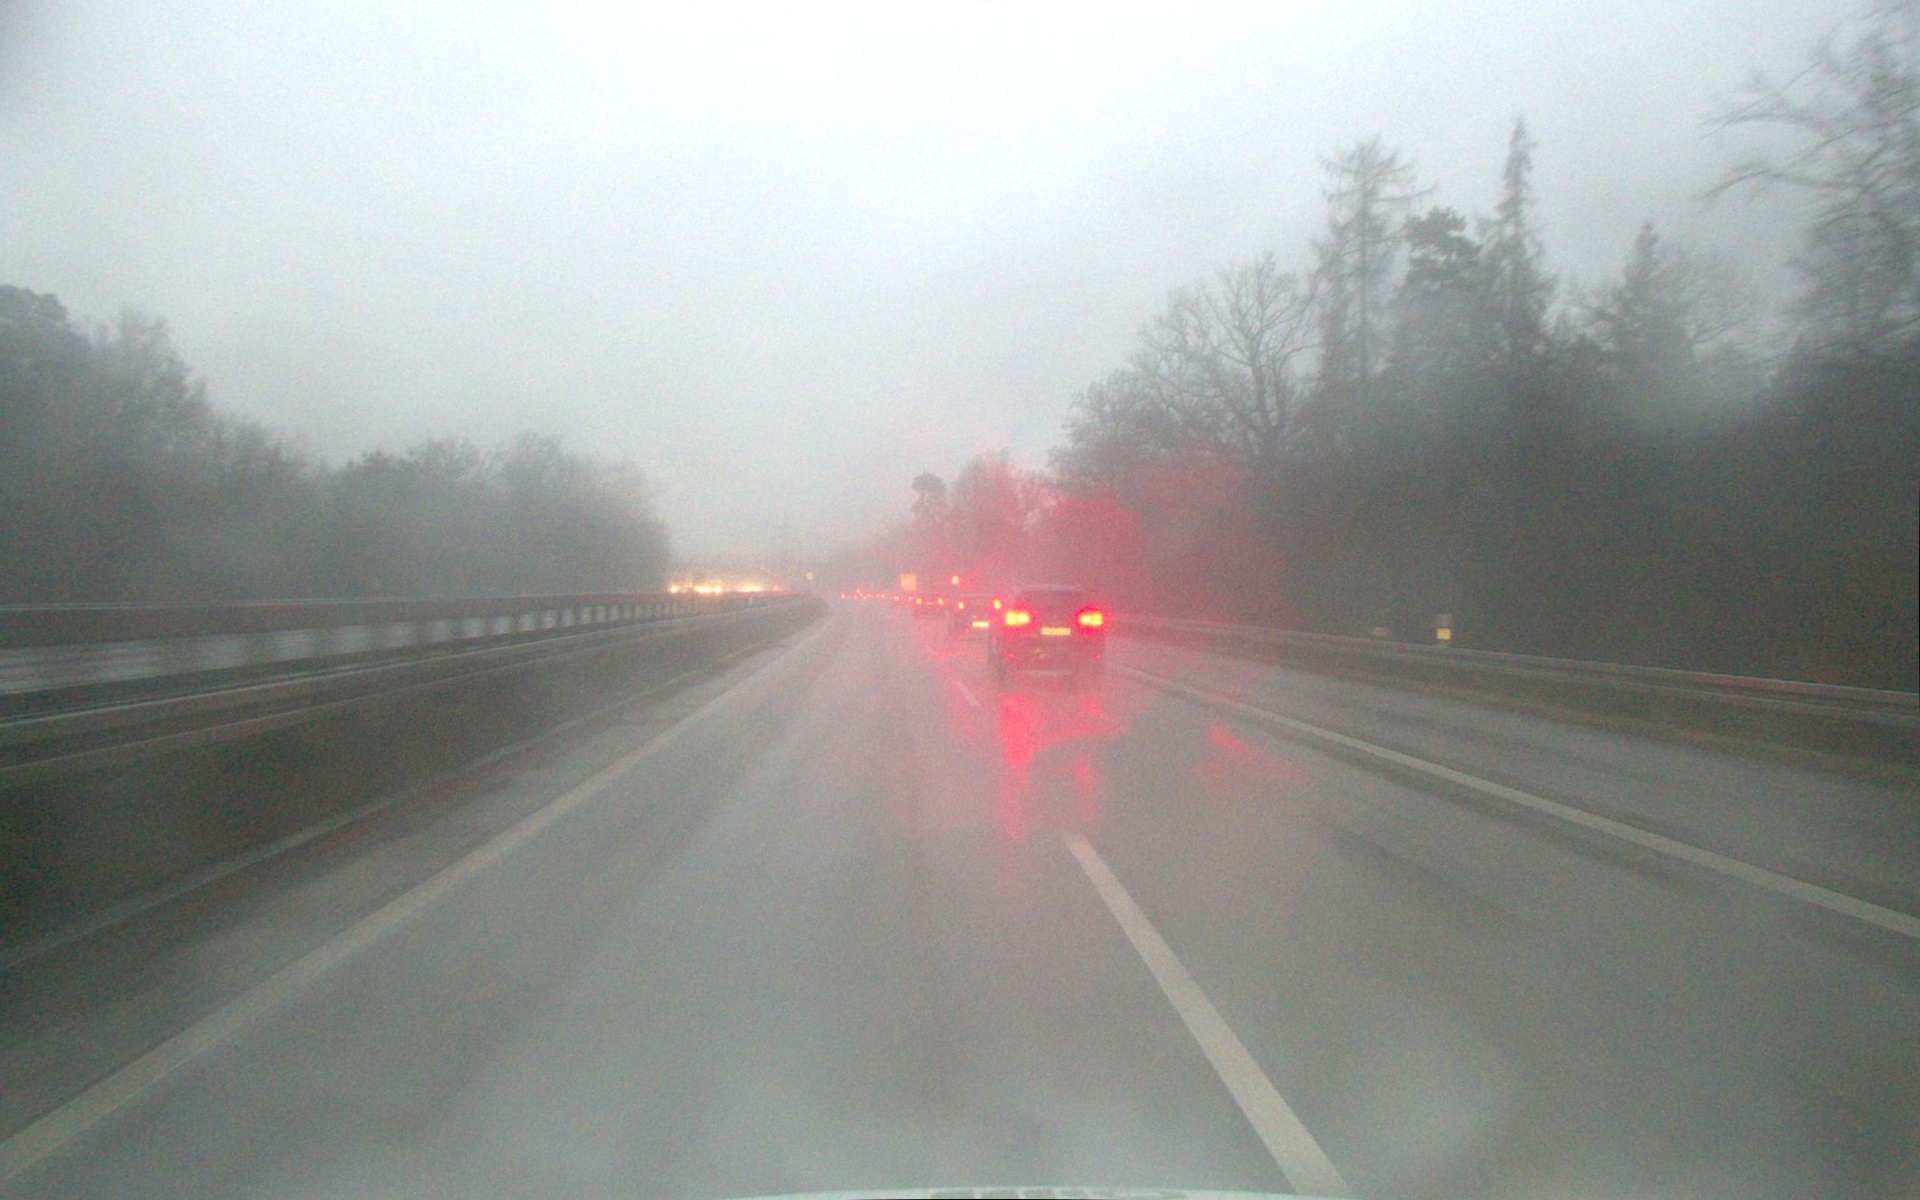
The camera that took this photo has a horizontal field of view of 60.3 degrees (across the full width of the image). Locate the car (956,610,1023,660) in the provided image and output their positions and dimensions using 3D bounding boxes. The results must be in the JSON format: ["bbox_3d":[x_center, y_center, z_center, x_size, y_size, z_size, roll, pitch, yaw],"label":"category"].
[{"bbox_3d":[0.923,1.109,53.813,1.953,1.445,3.999,3,0,-1],"label":"car"}]

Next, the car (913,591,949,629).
[{"bbox_3d":[-1.678,0.538,93.469,1.953,2.049,3.998,1,0,-2],"label":"car"}]

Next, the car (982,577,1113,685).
[{"bbox_3d":[1.472,0.521,29.115,1.952,1.745,3.828,1,0,-2],"label":"car"}]
